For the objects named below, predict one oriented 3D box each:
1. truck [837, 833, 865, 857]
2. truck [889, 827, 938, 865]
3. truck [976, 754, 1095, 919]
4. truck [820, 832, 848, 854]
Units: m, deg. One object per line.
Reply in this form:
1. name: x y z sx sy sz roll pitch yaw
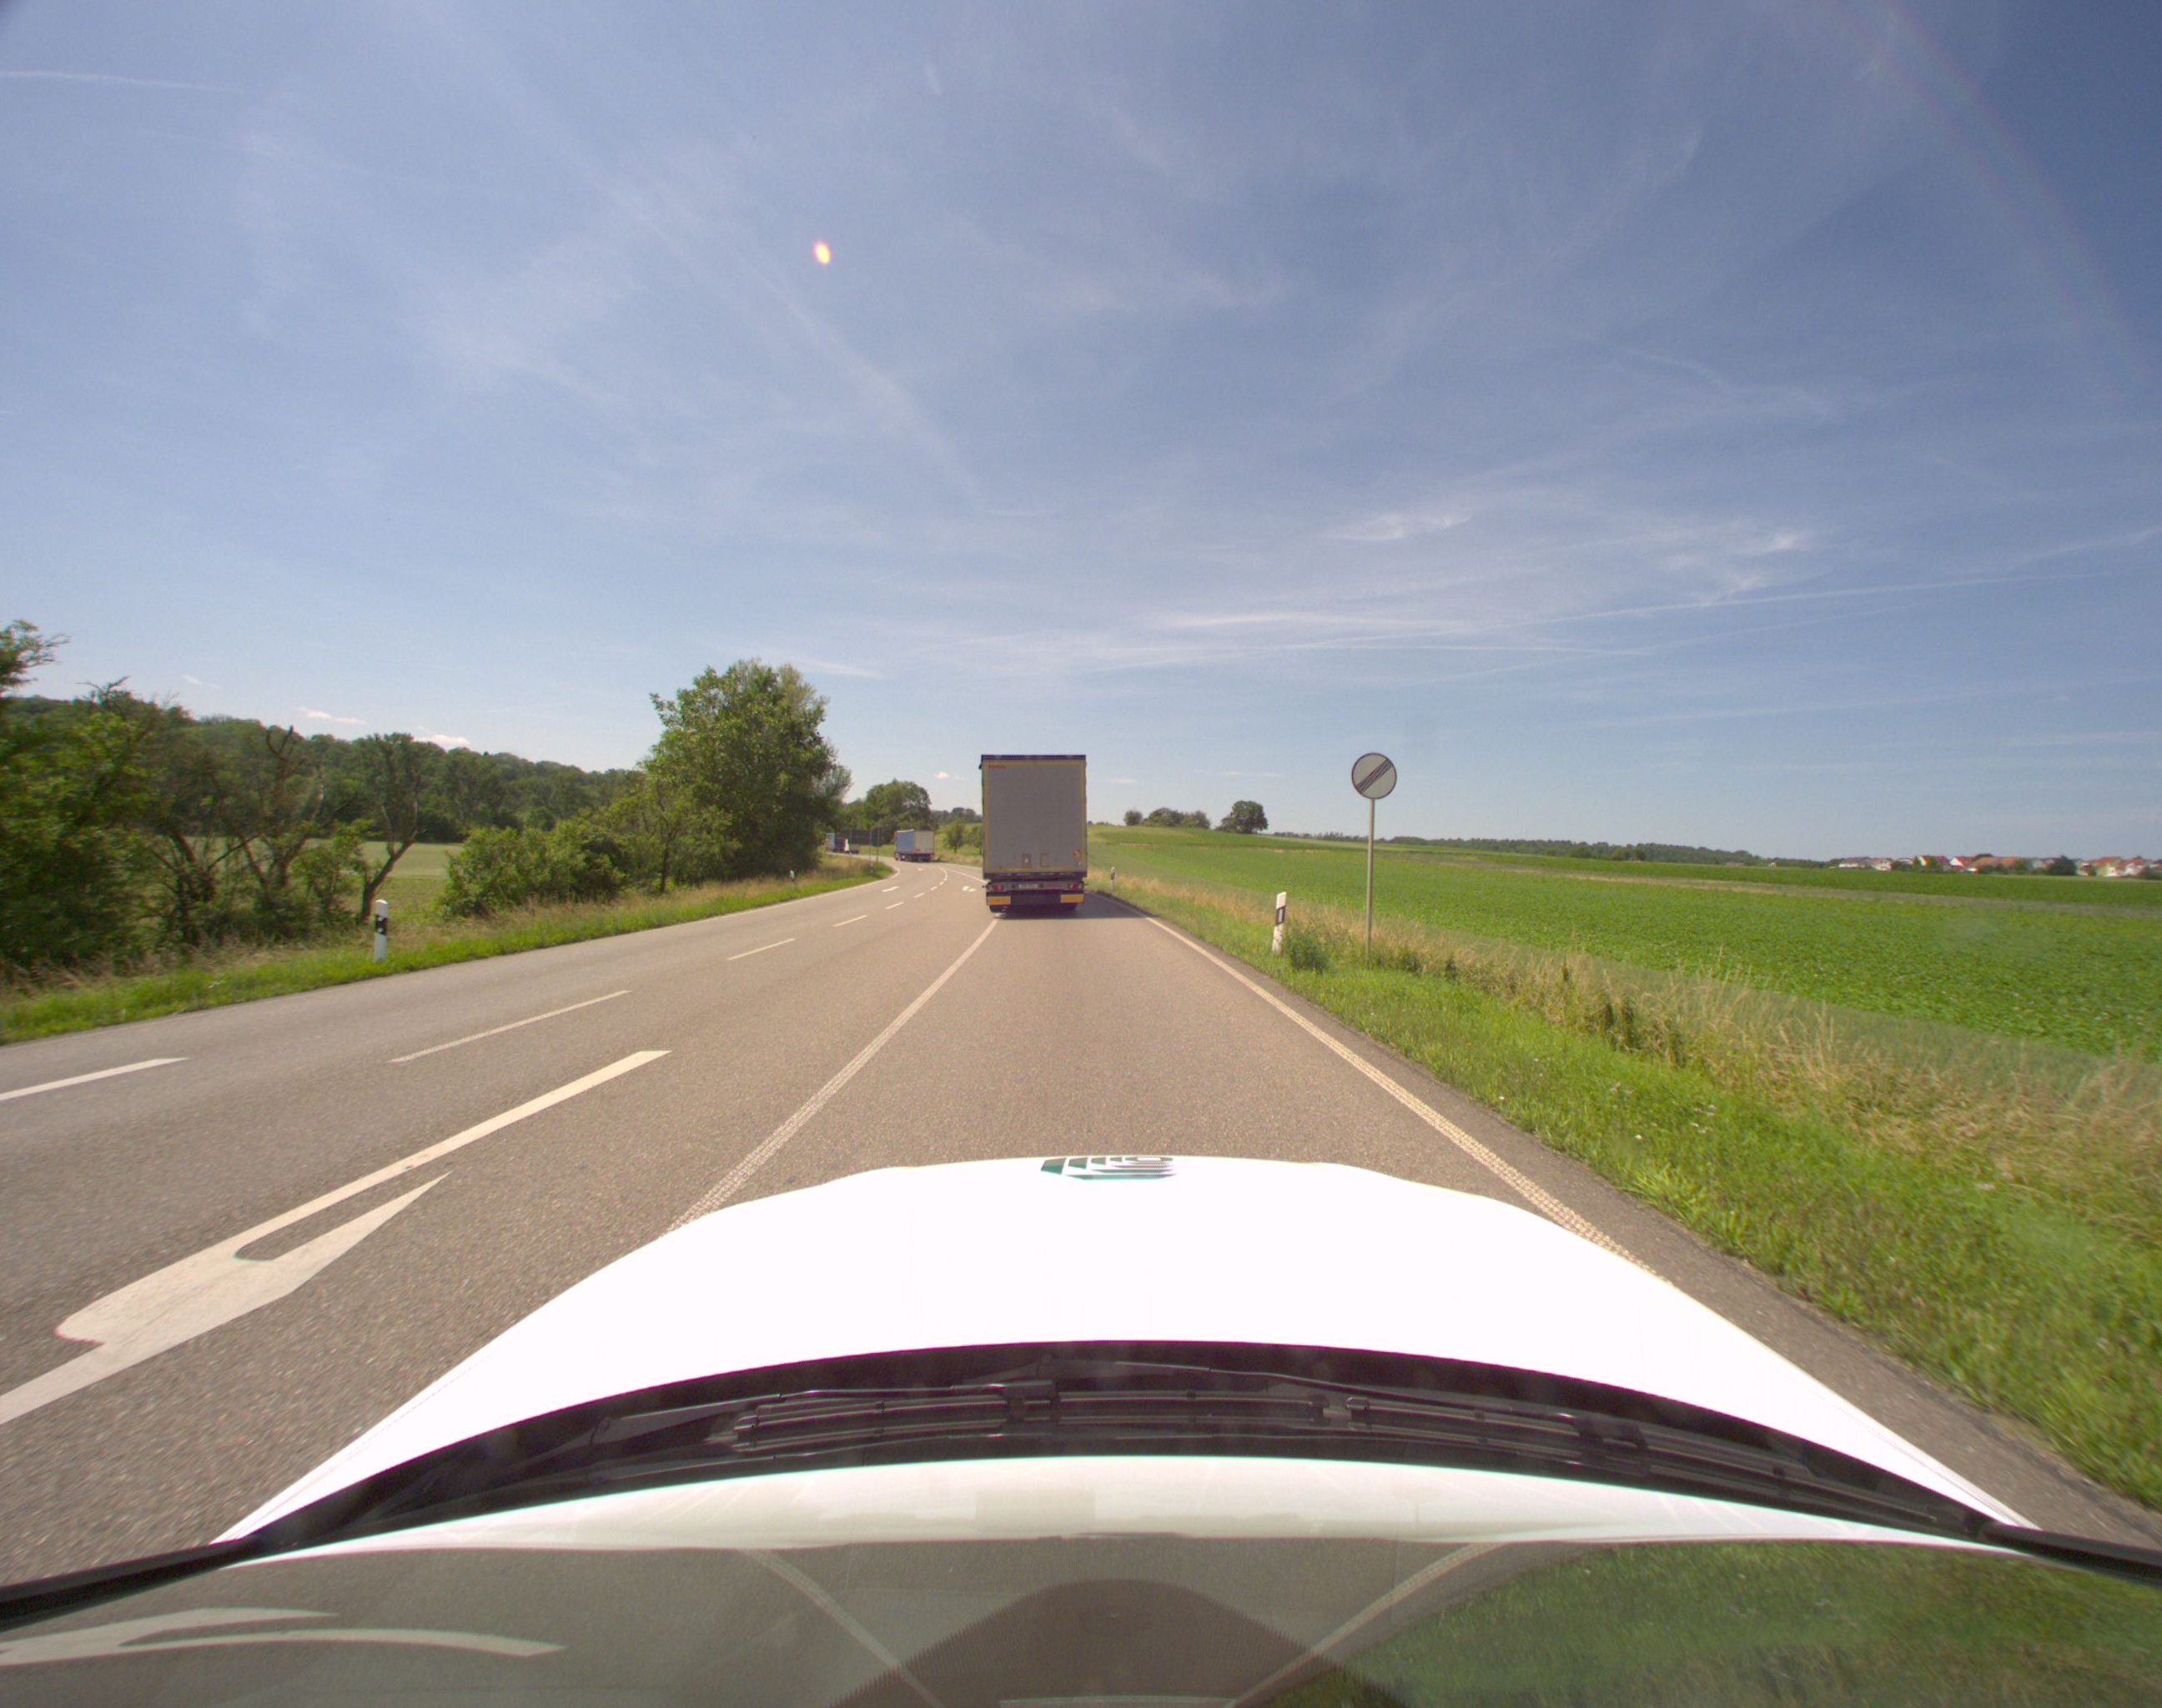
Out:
1. truck: -46.074 -1.699 162.912 3.653 4.130 12.994 3 -2 -23
2. truck: -22.164 -0.843 106.587 2.974 4.584 16.188 2 -1 -23
3. truck: -1.533 -0.424 24.425 2.804 3.946 9.572 -1 0 -5
4. truck: -53.789 -2.357 177.069 3.548 4.241 13.287 3 -2 -27
